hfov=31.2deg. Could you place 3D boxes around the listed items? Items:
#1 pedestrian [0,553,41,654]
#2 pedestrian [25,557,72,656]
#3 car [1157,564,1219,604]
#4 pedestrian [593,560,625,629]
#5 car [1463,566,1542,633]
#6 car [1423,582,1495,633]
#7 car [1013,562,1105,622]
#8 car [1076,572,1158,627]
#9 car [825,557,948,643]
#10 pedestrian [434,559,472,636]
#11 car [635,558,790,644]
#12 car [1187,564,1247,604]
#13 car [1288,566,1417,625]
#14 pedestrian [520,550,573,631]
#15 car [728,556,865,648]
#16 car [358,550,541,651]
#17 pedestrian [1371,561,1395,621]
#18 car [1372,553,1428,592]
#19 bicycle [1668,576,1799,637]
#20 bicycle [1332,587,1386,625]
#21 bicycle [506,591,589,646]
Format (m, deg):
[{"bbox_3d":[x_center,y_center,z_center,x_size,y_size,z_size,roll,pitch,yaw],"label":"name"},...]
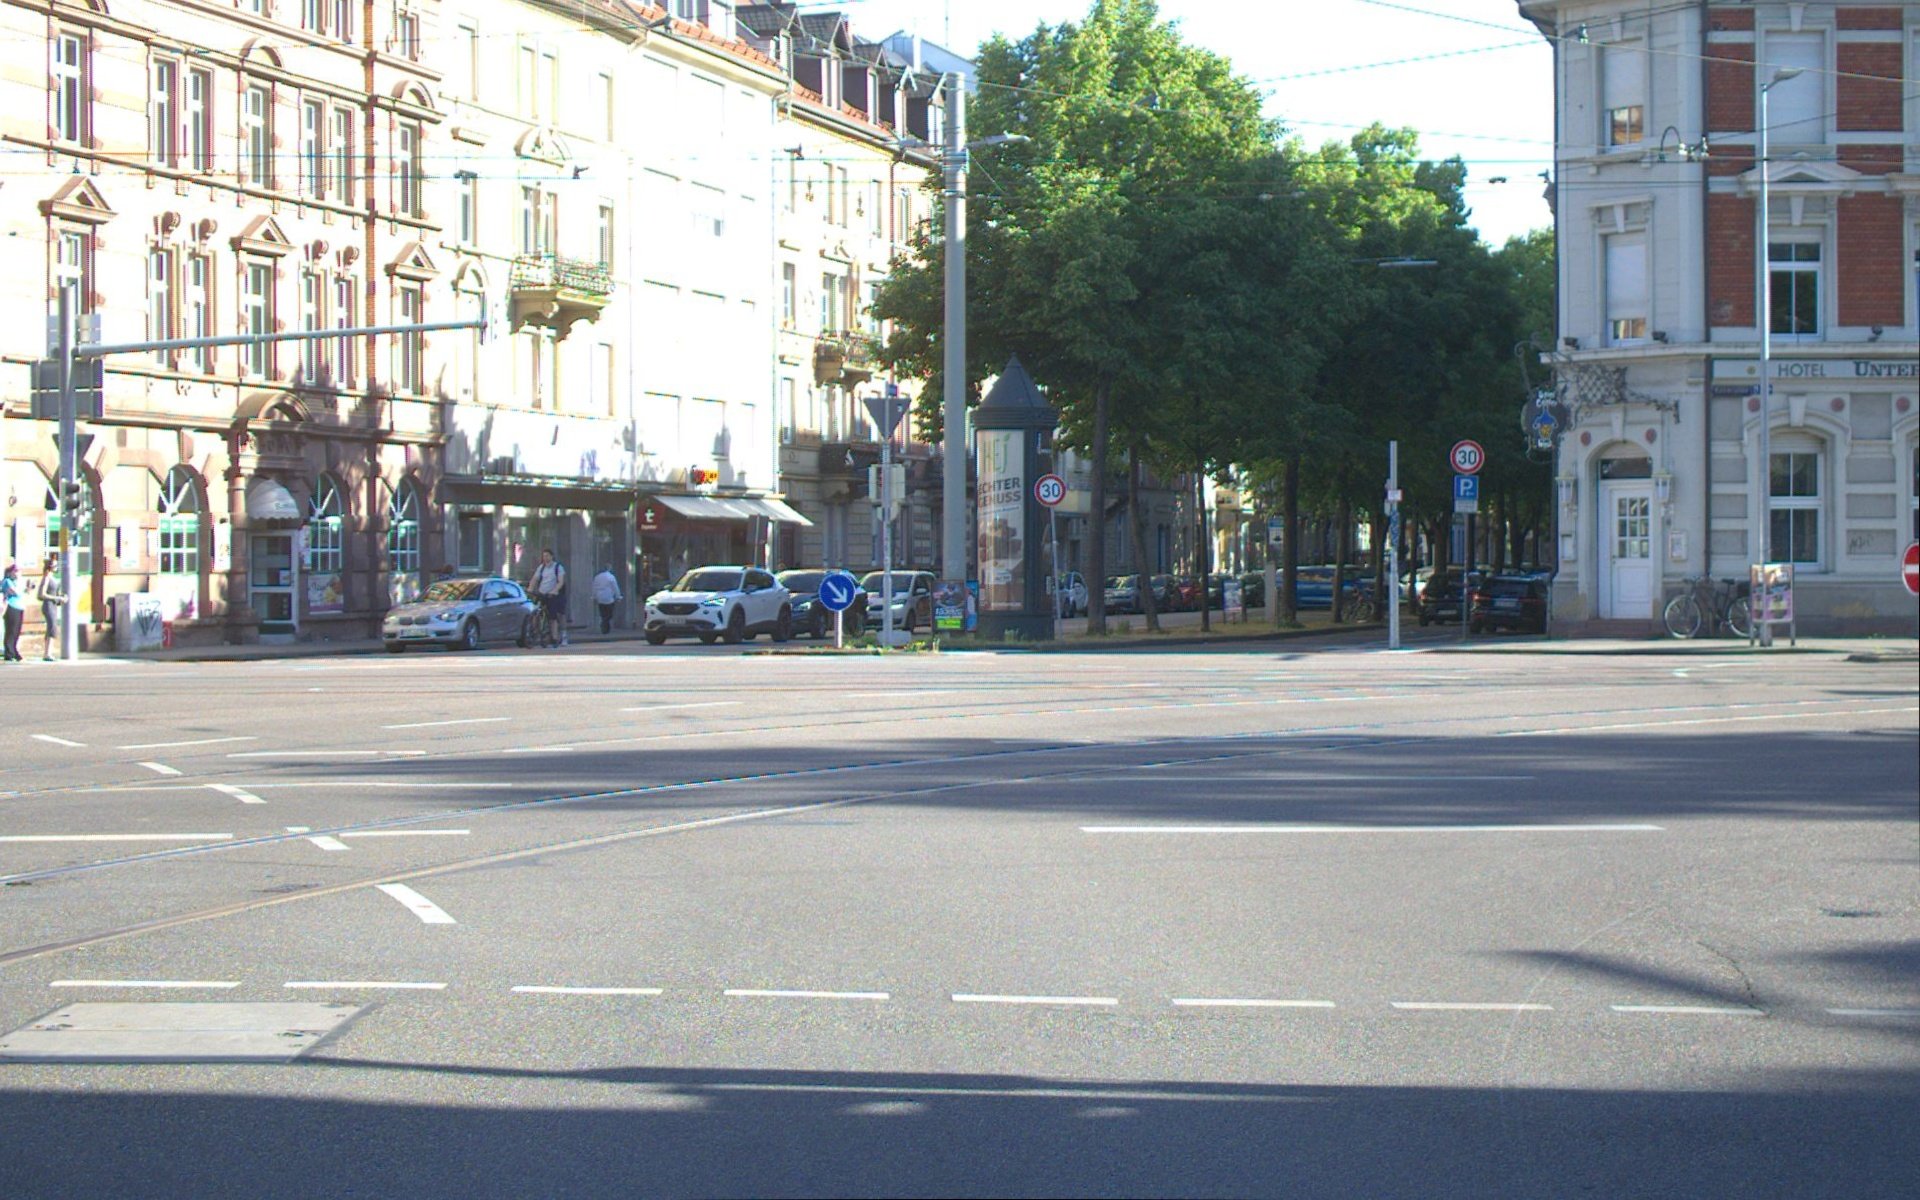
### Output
[{"bbox_3d":[-15.341,0.046,55.917,0.633,1.628,0.701,1,0,-4],"label":"pedestrian"},{"bbox_3d":[-15.172,0.105,57.233,0.633,1.628,0.701,1,0,-4],"label":"pedestrian"},{"bbox_3d":[8.765,-0.619,132.113,1.560,1.508,3.653,1,1,17],"label":"car"},{"bbox_3d":[-8.325,-0.127,81.546,0.544,1.626,0.706,1,0,13],"label":"pedestrian"},{"bbox_3d":[13.057,-0.029,82.606,1.692,1.559,3.839,1,1,11],"label":"car"},{"bbox_3d":[13.916,0.185,95.785,1.755,1.357,3.854,1,1,11],"label":"car"},{"bbox_3d":[3.268,-0.275,112.716,1.995,1.897,3.997,1,1,17],"label":"car"},{"bbox_3d":[5.613,-0.046,122.628,1.995,1.897,3.997,1,1,17],"label":"car"},{"bbox_3d":[-1.680,-0.013,79.589,1.994,1.897,3.998,1,1,11],"label":"car"},{"bbox_3d":[-10.804,-0.055,73.261,0.544,1.626,0.706,1,0,13],"label":"pedestrian"},{"bbox_3d":[-4.795,0.002,67.180,1.994,1.612,3.998,1,1,11],"label":"car"},{"bbox_3d":[10.195,-0.639,136.174,1.560,1.508,3.653,1,1,17],"label":"car"},{"bbox_3d":[13.149,-0.162,114.987,3.990,1.897,1.998,1,0,16],"label":"car"},{"bbox_3d":[-7.838,-0.186,65.220,0.821,1.507,0.598,1,0,15],"label":"pedestrian"},{"bbox_3d":[-3.465,0.020,73.762,1.994,1.897,3.998,1,1,11],"label":"car"},{"bbox_3d":[-9.935,-0.003,67.166,1.995,1.897,3.997,1,1,17],"label":"car"},{"bbox_3d":[12.689,-0.261,103.116,0.640,1.790,0.490,1,0,12],"label":"pedestrian"},{"bbox_3d":[17.254,-1.066,134.680,1.560,1.508,3.653,1,1,17],"label":"car"},{"bbox_3d":[12.835,0.098,57.087,2.049,0.994,0.630,0,0,3],"label":"bicycle"},{"bbox_3d":[11.494,0.171,99.084,0.626,1.081,1.703,1,1,-31],"label":"bicycle"},{"bbox_3d":[-7.825,0.341,65.300,0.763,1.004,2.395,1,1,13],"label":"bicycle"}]
